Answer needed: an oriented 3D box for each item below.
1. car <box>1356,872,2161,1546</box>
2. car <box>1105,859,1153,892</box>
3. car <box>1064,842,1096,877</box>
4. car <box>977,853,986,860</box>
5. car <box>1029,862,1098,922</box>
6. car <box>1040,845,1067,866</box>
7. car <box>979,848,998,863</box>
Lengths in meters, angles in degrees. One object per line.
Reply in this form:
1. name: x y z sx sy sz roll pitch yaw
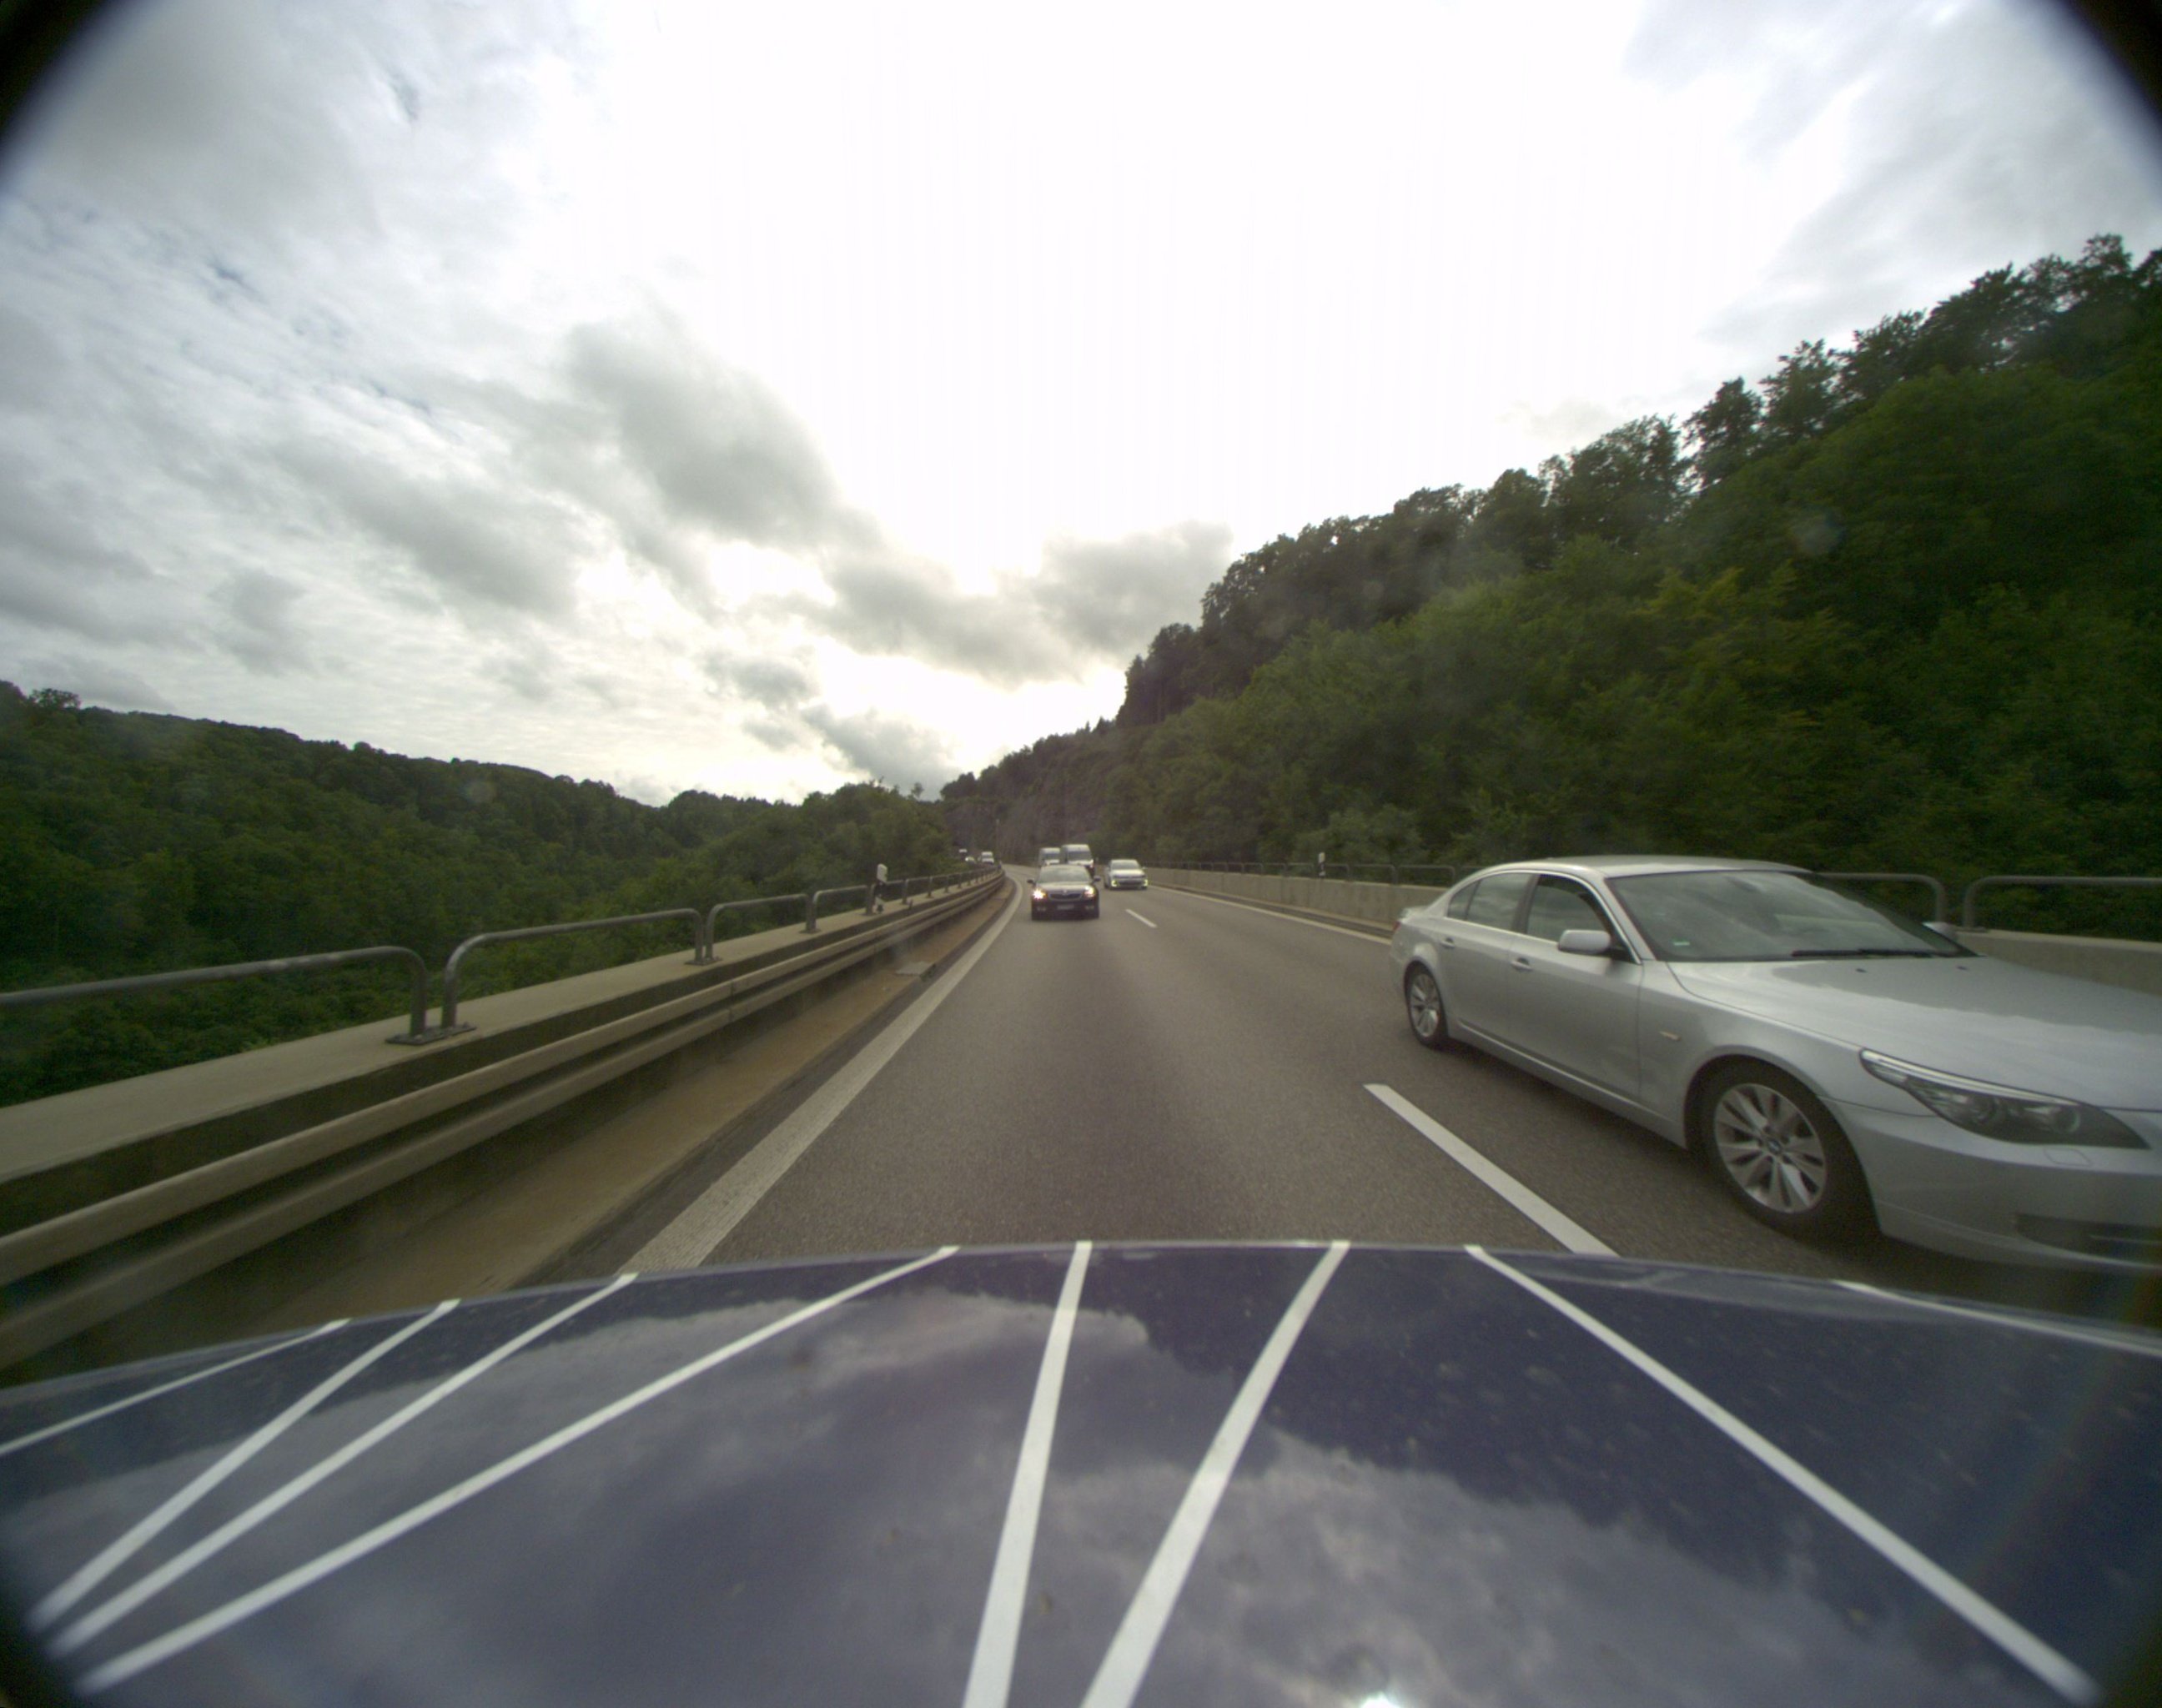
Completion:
1. car: 3.470 0.913 4.390 1.833 1.448 5.134 -2 0 -1
2. car: 2.301 1.037 37.681 1.923 1.452 4.229 -2 0 -2
3. car: -0.116 0.356 57.830 1.869 2.444 4.979 -2 2 -6
4. car: -28.898 0.665 220.625 2.001 2.002 3.996 -1 0 -13
5. car: -0.514 0.969 21.160 1.677 1.418 4.472 -2 0 -2
6. car: -2.939 0.181 79.681 2.231 2.061 5.621 -2 0 -7
7. car: -15.920 0.208 130.445 2.676 2.408 6.115 -2 0 -11
